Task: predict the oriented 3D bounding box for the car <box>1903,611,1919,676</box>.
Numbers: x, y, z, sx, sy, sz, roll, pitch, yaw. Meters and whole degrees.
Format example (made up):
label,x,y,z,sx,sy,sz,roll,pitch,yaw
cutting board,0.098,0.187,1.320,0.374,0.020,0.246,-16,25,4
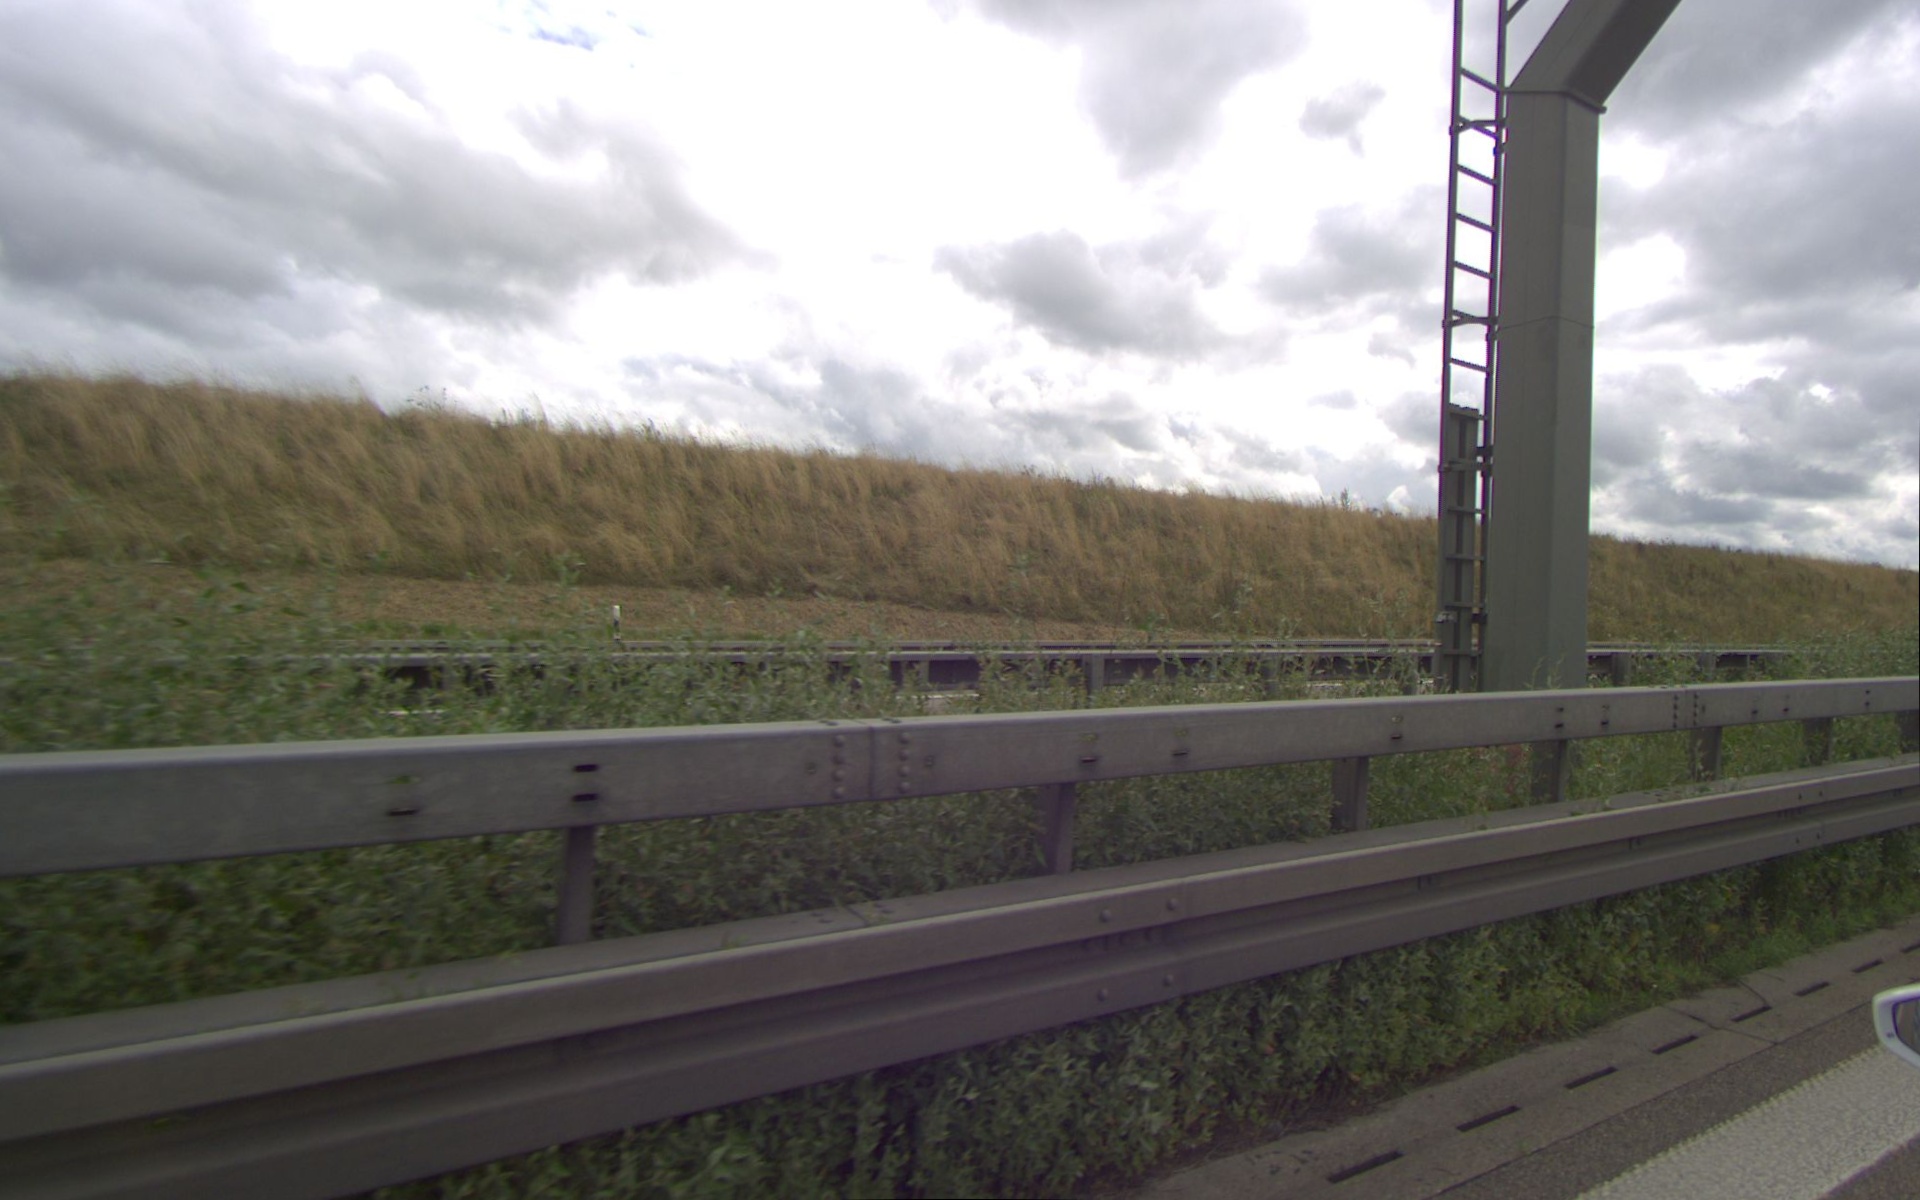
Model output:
label,x,y,z,sx,sy,sz,roll,pitch,yaw
car,32.667,1.442,32.420,4.652,2.040,1.984,1,0,-30
